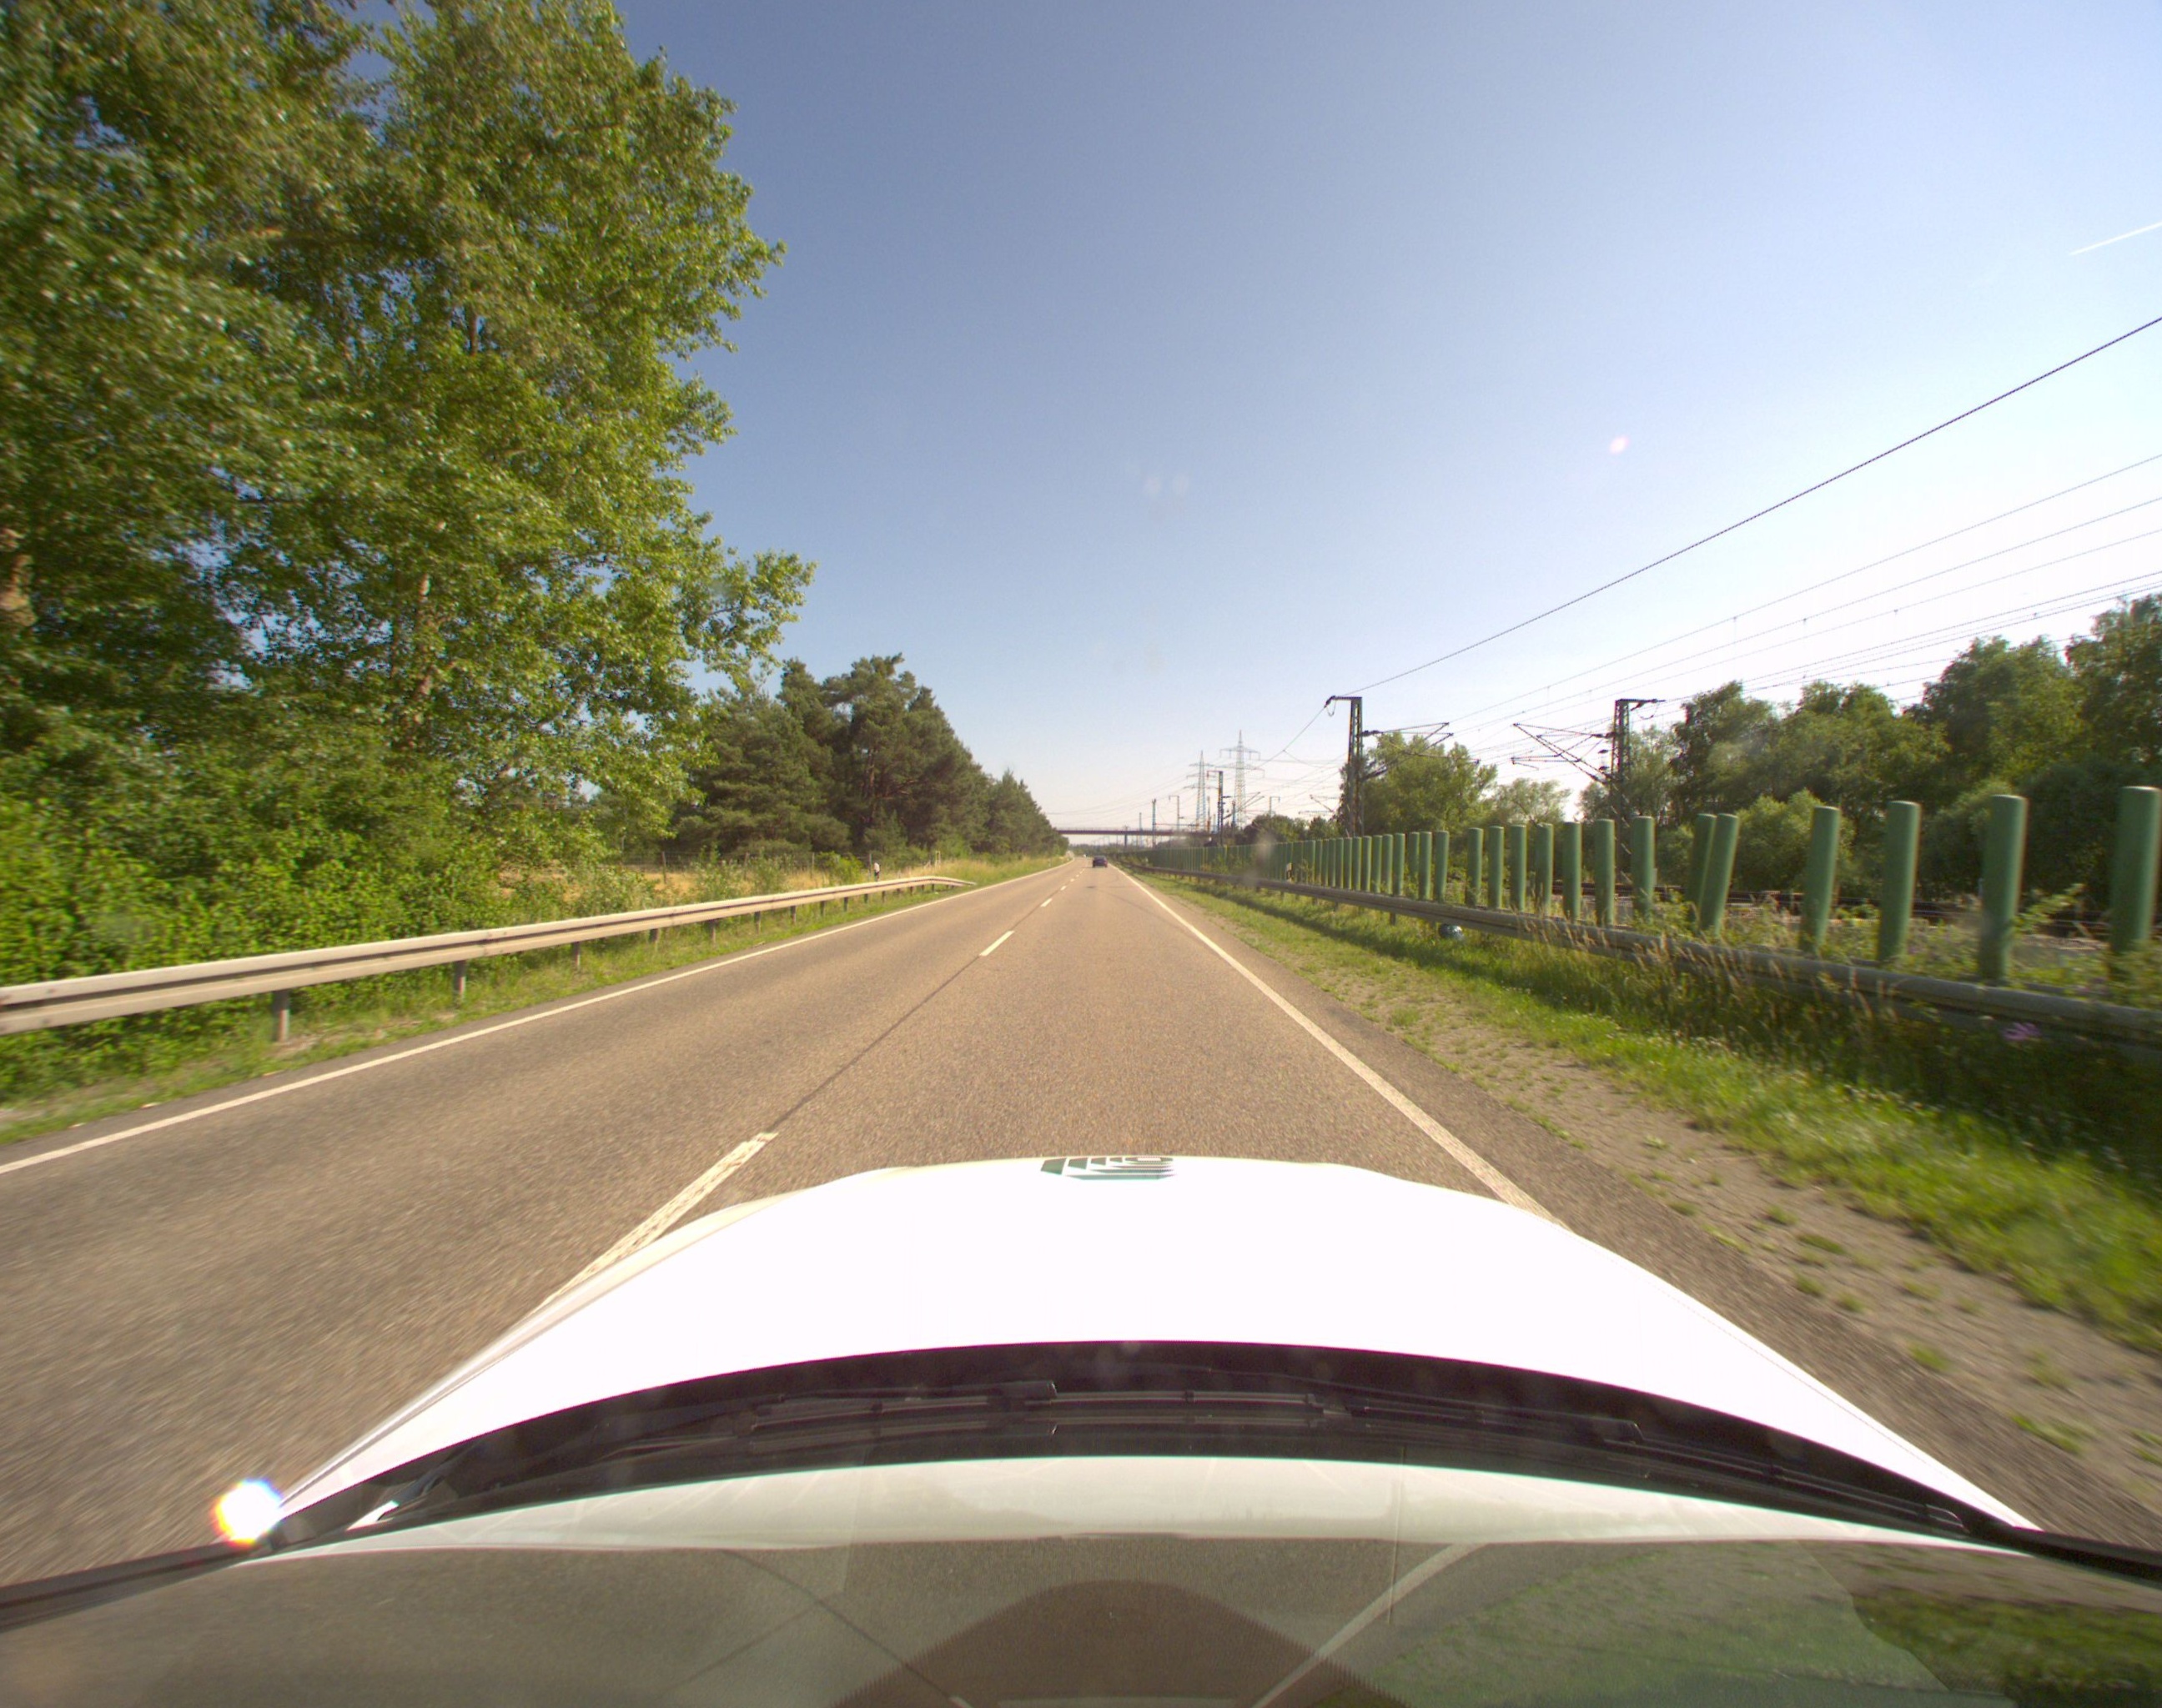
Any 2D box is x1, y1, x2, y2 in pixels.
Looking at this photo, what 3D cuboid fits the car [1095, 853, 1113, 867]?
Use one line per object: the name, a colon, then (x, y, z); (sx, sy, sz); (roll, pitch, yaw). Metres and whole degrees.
car: (2.816, 0.722, 101.318); (1.854, 1.642, 3.996); (-2, 0, -3)
